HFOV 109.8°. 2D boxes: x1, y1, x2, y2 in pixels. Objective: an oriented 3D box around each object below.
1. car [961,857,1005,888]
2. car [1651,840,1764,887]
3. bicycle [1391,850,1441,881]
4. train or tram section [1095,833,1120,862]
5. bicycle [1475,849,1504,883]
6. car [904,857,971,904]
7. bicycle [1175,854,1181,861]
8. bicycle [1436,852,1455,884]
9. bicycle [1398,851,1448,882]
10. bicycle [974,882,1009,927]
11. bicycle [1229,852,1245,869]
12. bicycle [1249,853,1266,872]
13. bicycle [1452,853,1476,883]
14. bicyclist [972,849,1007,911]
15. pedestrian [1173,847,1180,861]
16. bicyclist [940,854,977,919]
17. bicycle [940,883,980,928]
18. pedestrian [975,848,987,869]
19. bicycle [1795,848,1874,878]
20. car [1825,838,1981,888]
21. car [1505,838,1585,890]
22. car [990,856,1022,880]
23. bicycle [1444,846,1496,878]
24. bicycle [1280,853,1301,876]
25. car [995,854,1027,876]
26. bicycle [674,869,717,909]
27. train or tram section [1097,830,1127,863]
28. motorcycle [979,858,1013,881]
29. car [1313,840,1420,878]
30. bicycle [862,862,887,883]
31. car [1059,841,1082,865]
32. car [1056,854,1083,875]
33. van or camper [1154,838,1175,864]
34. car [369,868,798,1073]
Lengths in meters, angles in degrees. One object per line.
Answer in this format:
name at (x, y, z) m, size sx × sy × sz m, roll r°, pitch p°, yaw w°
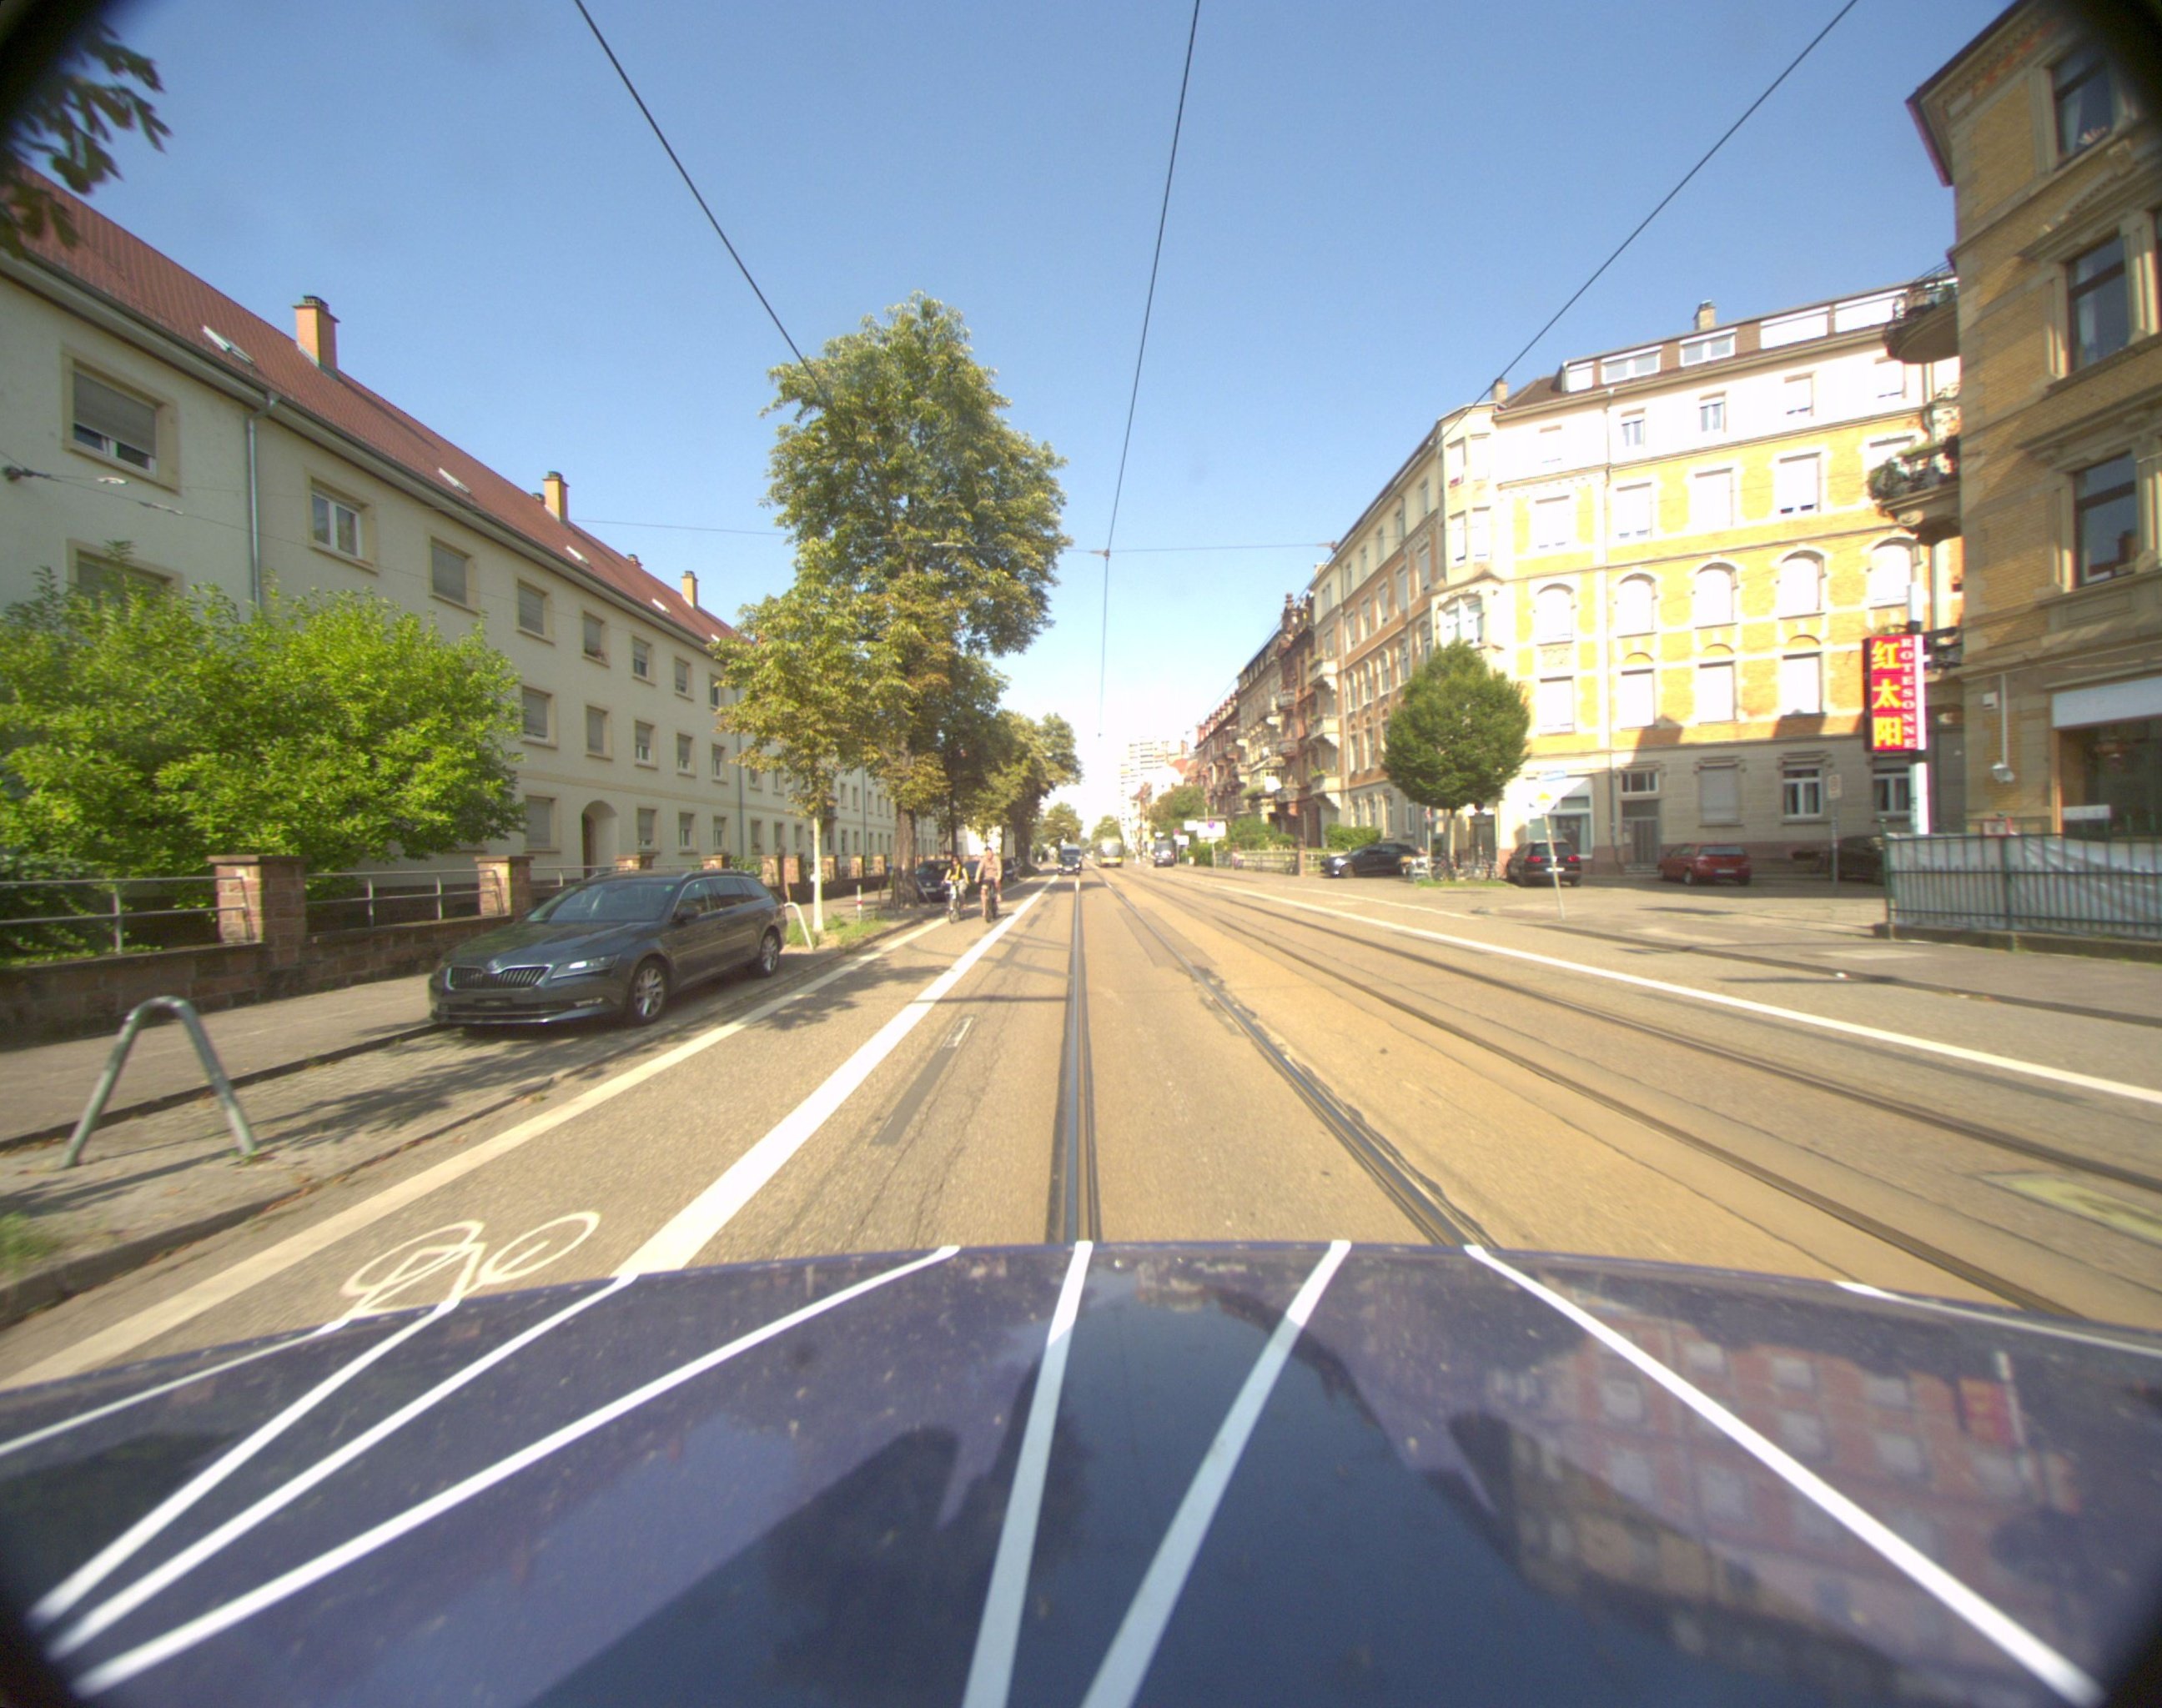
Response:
car at (-4.851, 0.885, 38.117) m, size 1.694 × 1.426 × 4.336 m, roll 1°, pitch 0°, yaw -1°
car at (21.677, 0.293, 26.457) m, size 1.764 × 1.517 × 3.773 m, roll -1°, pitch 0°, yaw 18°
bicycle at (13.658, 0.469, 30.980) m, size 1.853 × 1.190 × 0.542 m, roll -1°, pitch 1°, yaw -11°
train or tram section at (3.386, -0.878, 99.362) m, size 2.741 × 3.485 × 10.774 m, roll -2°, pitch 0°, yaw -1°
bicycle at (15.434, 0.445, 28.746) m, size 0.542 × 1.222 × 1.775 m, roll -1°, pitch 1°, yaw 13°
car at (-5.101, 0.899, 27.470) m, size 1.694 × 1.493 × 4.095 m, roll 0°, pitch 1°, yaw -1°
bicycle at (11.917, 0.417, 93.570) m, size 0.527 × 0.922 × 1.703 m, roll -2°, pitch 0°, yaw 3°
bicycle at (13.962, 0.524, 29.133) m, size 0.482 × 1.153 × 1.775 m, roll -1°, pitch 1°, yaw 19°
bicycle at (13.753, 0.494, 30.542) m, size 1.863 × 1.174 × 0.542 m, roll -1°, pitch 1°, yaw -11°
bicycle at (-2.109, 1.180, 18.037) m, size 0.628 × 0.903 × 1.525 m, roll -4°, pitch 1°, yaw -1°
bicycle at (10.641, 0.449, 51.864) m, size 0.608 × 1.052 × 1.839 m, roll -6°, pitch 0°, yaw 1°
bicycle at (10.673, 0.486, 45.930) m, size 0.546 × 1.052 × 1.839 m, roll -6°, pitch 0°, yaw 1°
bicycle at (14.570, 0.510, 28.935) m, size 0.542 × 1.083 × 1.839 m, roll -1°, pitch 1°, yaw 18°
bicyclist at (-2.151, 0.605, 17.976) m, size 0.628 × 1.393 × 0.929 m, roll -4°, pitch 1°, yaw -1°
pedestrian at (11.737, 0.007, 93.015) m, size 0.639 × 1.668 × 0.633 m, roll -2°, pitch 0°, yaw -12°
bicyclist at (-2.938, 0.766, 18.333) m, size 0.656 × 1.465 × 0.908 m, roll -4°, pitch 1°, yaw -1°
bicycle at (-2.901, 1.221, 18.325) m, size 0.656 × 0.903 × 1.774 m, roll -4°, pitch 1°, yaw -1°
pedestrian at (-8.169, 0.369, 62.115) m, size 0.754 × 1.739 × 0.878 m, roll -2°, pitch 1°, yaw 6°
bicycle at (27.906, 0.343, 28.186) m, size 2.007 × 1.061 × 0.594 m, roll -1°, pitch 1°, yaw 21°
car at (25.979, 0.240, 24.215) m, size 1.764 × 1.446 × 3.950 m, roll -1°, pitch 1°, yaw 20°
car at (16.710, 0.306, 27.545) m, size 1.764 × 1.650 × 3.773 m, roll -3°, pitch 1°, yaw 21°
car at (-4.765, 0.883, 48.681) m, size 1.649 × 1.440 × 4.245 m, roll 0°, pitch 1°, yaw 0°
bicycle at (15.686, 0.337, 30.679) m, size 1.770 × 1.250 × 0.544 m, roll -1°, pitch 1°, yaw 14°
bicycle at (10.705, 0.527, 38.905) m, size 0.546 × 1.052 × 1.839 m, roll -6°, pitch 0°, yaw 1°
car at (-5.204, 0.793, 56.820) m, size 1.649 × 1.531 × 3.843 m, roll 0°, pitch 1°, yaw 5°
bicycle at (-10.946, 0.987, 21.621) m, size 0.417 × 1.054 × 1.488 m, roll -1°, pitch 1°, yaw 0°
train or tram section at (3.500, -0.840, 88.594) m, size 2.741 × 3.485 × 10.774 m, roll -2°, pitch 0°, yaw -1°
motorcycle at (-5.003, 0.907, 44.816) m, size 1.859 × 1.281 × 0.705 m, roll 2°, pitch -4°, yaw -3°
car at (13.247, 0.216, 35.448) m, size 4.148 × 1.534 × 2.064 m, roll -3°, pitch 1°, yaw -1°
bicycle at (-11.176, 0.979, 41.242) m, size 0.774 × 1.097 × 2.333 m, roll -2°, pitch 0°, yaw -3°
car at (-0.961, -0.105, 74.643) m, size 2.087 × 2.264 × 4.827 m, roll -2°, pitch 0°, yaw 0°
car at (-0.831, 0.739, 57.498) m, size 1.775 × 1.459 × 4.000 m, roll -3°, pitch 0°, yaw 1°
van or camper at (8.735, -0.351, 79.607) m, size 2.054 × 2.629 × 6.092 m, roll -1°, pitch 1°, yaw 7°
car at (-5.030, 1.022, 8.710) m, size 1.748 × 1.552 × 4.718 m, roll -1°, pitch 1°, yaw 0°
